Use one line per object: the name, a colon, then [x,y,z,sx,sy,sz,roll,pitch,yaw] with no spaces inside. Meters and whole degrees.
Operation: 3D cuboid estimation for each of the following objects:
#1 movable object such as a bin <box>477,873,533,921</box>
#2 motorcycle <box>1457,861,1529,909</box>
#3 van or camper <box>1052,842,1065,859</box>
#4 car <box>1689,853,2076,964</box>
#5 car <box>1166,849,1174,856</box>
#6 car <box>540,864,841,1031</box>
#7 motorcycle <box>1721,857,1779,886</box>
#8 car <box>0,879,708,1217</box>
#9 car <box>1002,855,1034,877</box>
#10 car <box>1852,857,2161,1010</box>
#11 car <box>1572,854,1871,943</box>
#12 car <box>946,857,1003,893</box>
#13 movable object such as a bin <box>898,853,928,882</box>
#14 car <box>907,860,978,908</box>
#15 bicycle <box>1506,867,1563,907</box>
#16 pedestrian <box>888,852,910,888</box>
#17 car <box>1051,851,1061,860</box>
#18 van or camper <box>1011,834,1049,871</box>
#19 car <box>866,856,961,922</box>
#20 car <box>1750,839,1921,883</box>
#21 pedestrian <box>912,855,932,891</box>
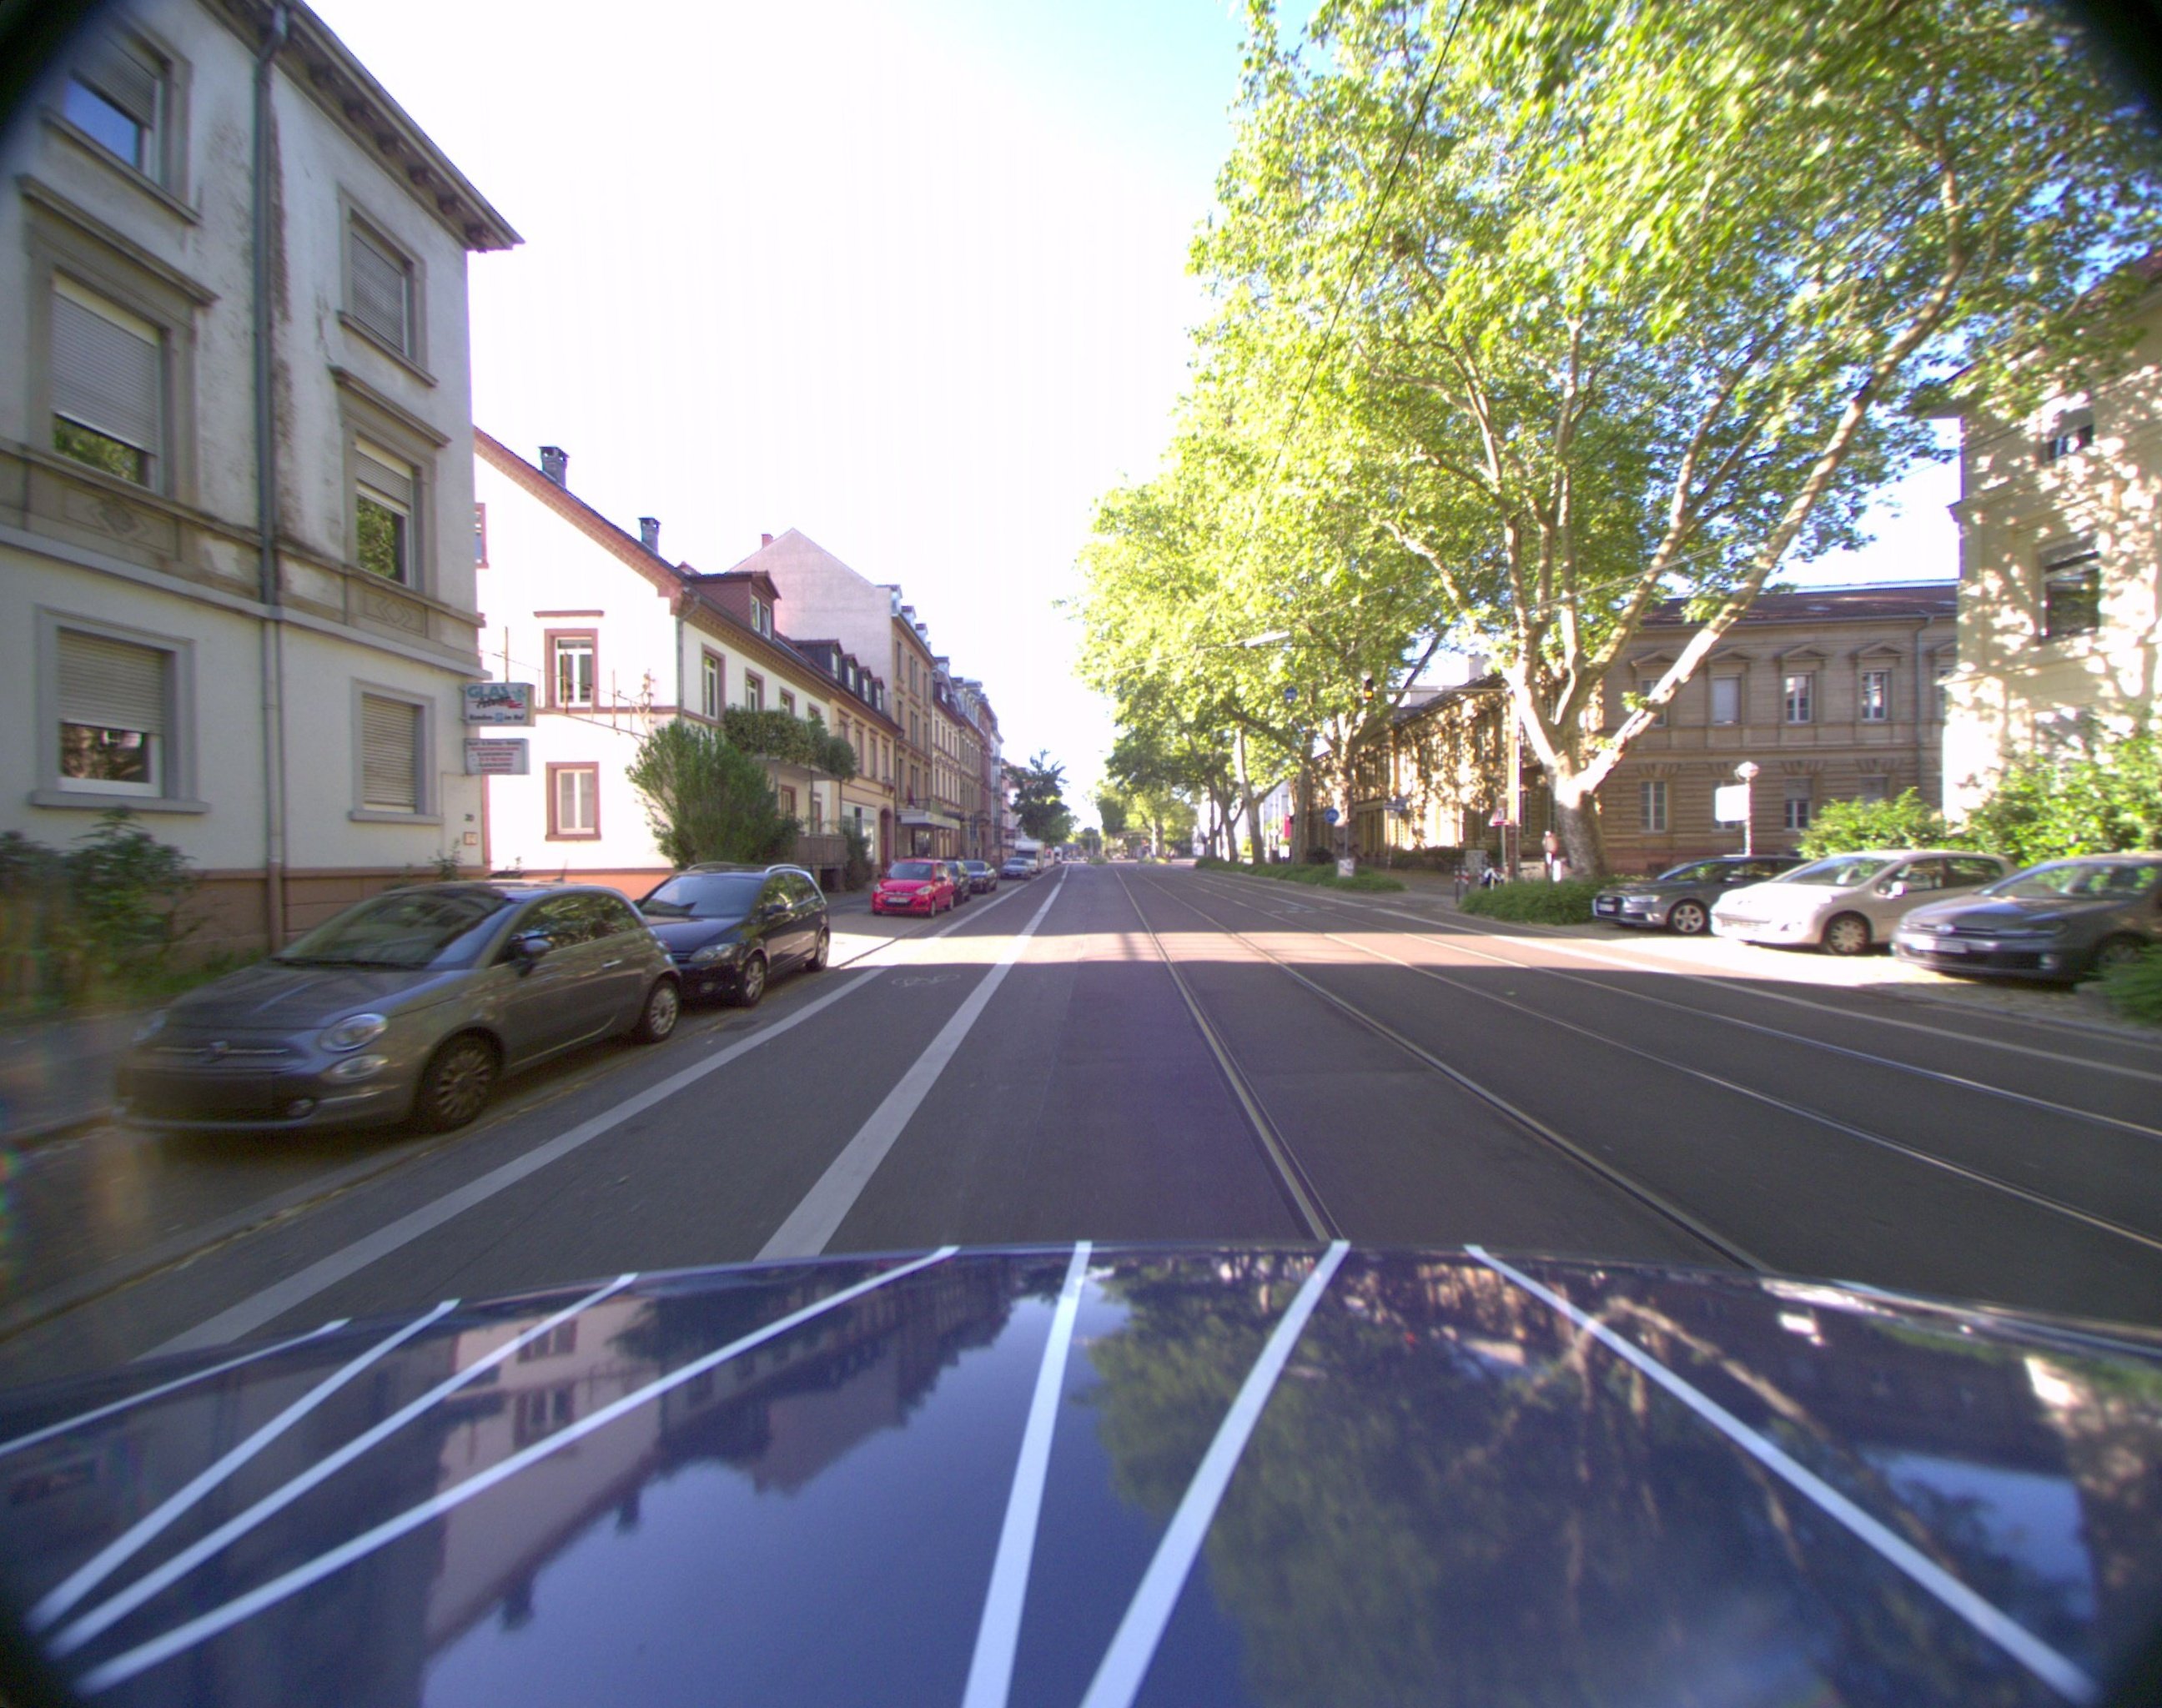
movable object such as a bin: [-14.080,1.048,18.599,0.630,1.022,0.793,-2,9,-1]
motorcycle: [10.740,0.775,19.928,0.886,1.140,2.392,-2,0,9]
van or camper: [-4.152,-0.594,140.568,2.173,3.074,7.289,0,0,1]
car: [11.865,0.756,11.471,3.931,1.444,1.800,-1,1,1]
car: [22.057,-0.454,188.833,1.870,1.620,4.562,-1,0,5]
car: [-4.645,0.993,9.797,1.885,1.577,3.931,2,1,-1]
motorcycle: [24.324,0.624,27.678,0.721,0.971,1.956,-2,1,13]
car: [-4.607,1.027,5.635,1.803,1.448,3.767,2,1,0]
car: [-4.249,0.777,52.003,1.814,1.426,4.664,0,1,0]
car: [11.550,0.803,8.528,3.929,1.454,1.805,-1,1,1]
car: [11.666,0.773,14.065,3.929,1.324,1.847,-3,1,1]
car: [-4.531,0.865,32.859,1.698,1.384,4.494,0,1,2]
movable object such as a bin: [-9.173,0.713,41.626,1.296,1.511,1.286,-2,1,1]
car: [-4.582,0.944,25.671,1.655,1.448,3.868,0,1,1]
bicycle: [11.843,0.833,19.900,0.542,0.935,2.035,-2,0,9]
pedestrian: [-7.658,0.668,31.980,0.659,1.474,0.785,-2,1,0]
car: [-4.297,0.268,130.361,1.656,1.439,3.800,0,0,-1]
van or camper: [-4.365,-0.122,66.552,2.483,2.955,7.884,2,1,2]
car: [-4.571,0.895,21.178,1.638,1.538,3.576,4,1,2]
car: [26.812,0.238,27.139,3.926,1.324,1.849,-3,1,13]
pedestrian: [-6.686,0.790,32.041,0.662,1.496,0.866,0,1,0]
